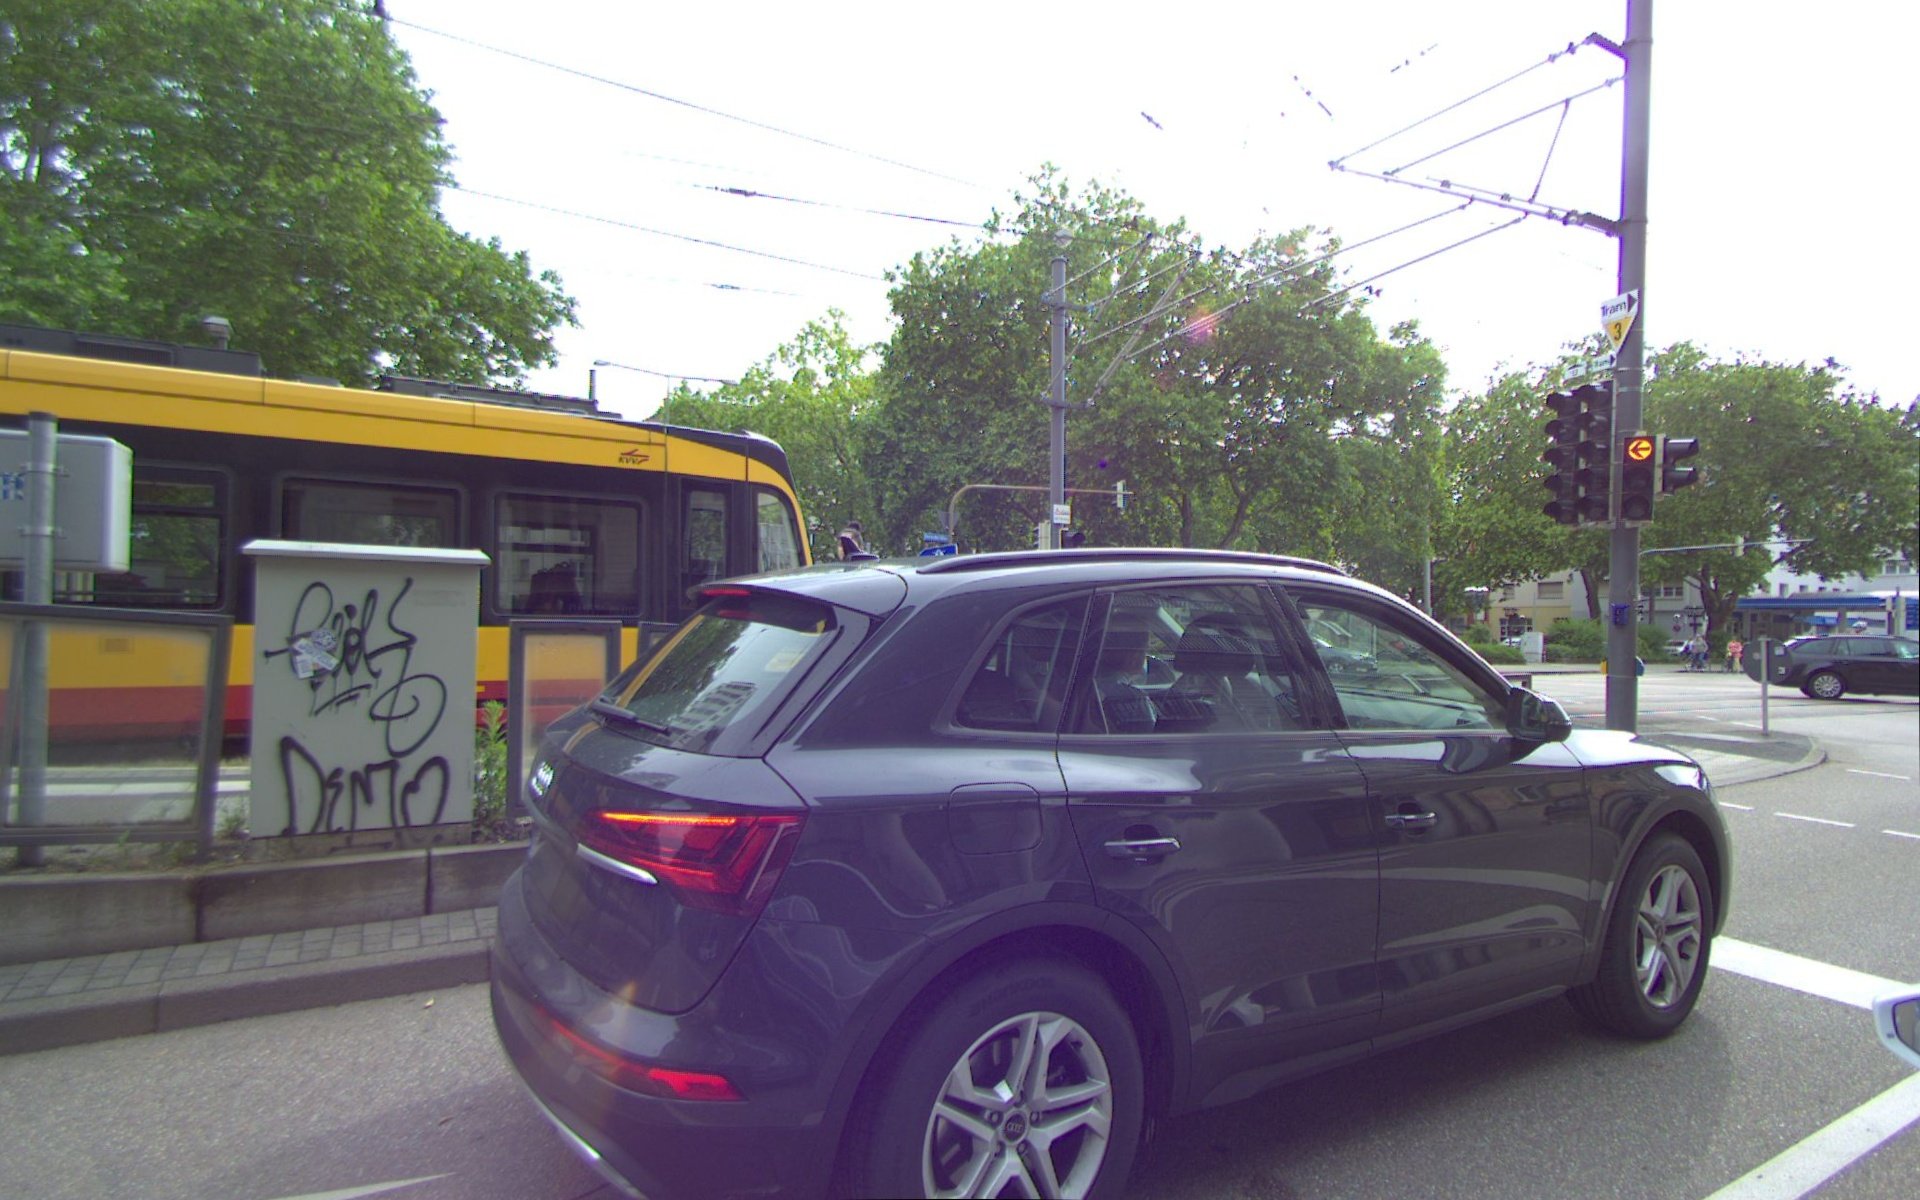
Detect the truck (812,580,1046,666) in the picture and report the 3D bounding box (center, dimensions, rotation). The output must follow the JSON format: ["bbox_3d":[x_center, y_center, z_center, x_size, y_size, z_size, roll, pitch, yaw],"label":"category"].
[{"bbox_3d":[-1.473,0.778,39.610,10.025,2.980,2.625,1,0,40],"label":"truck"}]

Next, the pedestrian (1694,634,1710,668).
[{"bbox_3d":[39.938,2.750,54.094,0.541,1.808,0.375,2,0,-6],"label":"pedestrian"}]

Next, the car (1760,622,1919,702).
[{"bbox_3d":[20.612,1.376,22.312,4.268,1.607,1.806,2,0,35],"label":"car"}]

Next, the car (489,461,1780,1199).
[{"bbox_3d":[0.820,0.654,3.539,4.308,1.622,1.870,2,-1,-31],"label":"car"}]

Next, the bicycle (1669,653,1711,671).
[{"bbox_3d":[35.753,3.038,49.209,0.644,0.783,1.682,2,0,-9],"label":"bicycle"}]

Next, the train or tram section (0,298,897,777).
[{"bbox_3d":[-8.260,-0.493,8.835,15.665,3.636,3.045,2,0,-31],"label":"train or tram section"}]

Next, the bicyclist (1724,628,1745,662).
[{"bbox_3d":[37.293,2.157,48.375,0.611,1.588,0.585,2,0,-30],"label":"bicyclist"}]

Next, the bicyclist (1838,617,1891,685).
[{"bbox_3d":[25.071,1.401,27.852,0.951,1.843,0.531,2,0,32],"label":"bicyclist"}]

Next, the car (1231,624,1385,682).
[{"bbox_3d":[10.302,1.523,29.831,3.927,1.489,1.835,2,0,36],"label":"car"}]

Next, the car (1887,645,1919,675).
[{"bbox_3d":[52.777,3.297,55.019,3.792,1.578,1.885,2,0,-30],"label":"car"}]

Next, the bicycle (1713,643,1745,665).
[{"bbox_3d":[37.043,2.598,48.408,1.914,1.031,0.519,2,0,-30],"label":"bicycle"}]

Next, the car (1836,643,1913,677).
[{"bbox_3d":[46.868,3.073,51.463,3.792,1.578,1.885,2,0,-30],"label":"car"}]

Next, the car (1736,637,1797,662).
[{"bbox_3d":[54.738,3.347,68.163,3.954,1.550,1.984,2,0,-30],"label":"car"}]

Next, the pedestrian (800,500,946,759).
[{"bbox_3d":[-0.620,0.200,7.024,0.722,1.683,0.750,2,0,-30],"label":"pedestrian"}]

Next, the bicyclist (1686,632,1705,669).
[{"bbox_3d":[35.884,2.458,49.014,0.461,1.808,0.534,2,0,-10],"label":"bicyclist"}]
